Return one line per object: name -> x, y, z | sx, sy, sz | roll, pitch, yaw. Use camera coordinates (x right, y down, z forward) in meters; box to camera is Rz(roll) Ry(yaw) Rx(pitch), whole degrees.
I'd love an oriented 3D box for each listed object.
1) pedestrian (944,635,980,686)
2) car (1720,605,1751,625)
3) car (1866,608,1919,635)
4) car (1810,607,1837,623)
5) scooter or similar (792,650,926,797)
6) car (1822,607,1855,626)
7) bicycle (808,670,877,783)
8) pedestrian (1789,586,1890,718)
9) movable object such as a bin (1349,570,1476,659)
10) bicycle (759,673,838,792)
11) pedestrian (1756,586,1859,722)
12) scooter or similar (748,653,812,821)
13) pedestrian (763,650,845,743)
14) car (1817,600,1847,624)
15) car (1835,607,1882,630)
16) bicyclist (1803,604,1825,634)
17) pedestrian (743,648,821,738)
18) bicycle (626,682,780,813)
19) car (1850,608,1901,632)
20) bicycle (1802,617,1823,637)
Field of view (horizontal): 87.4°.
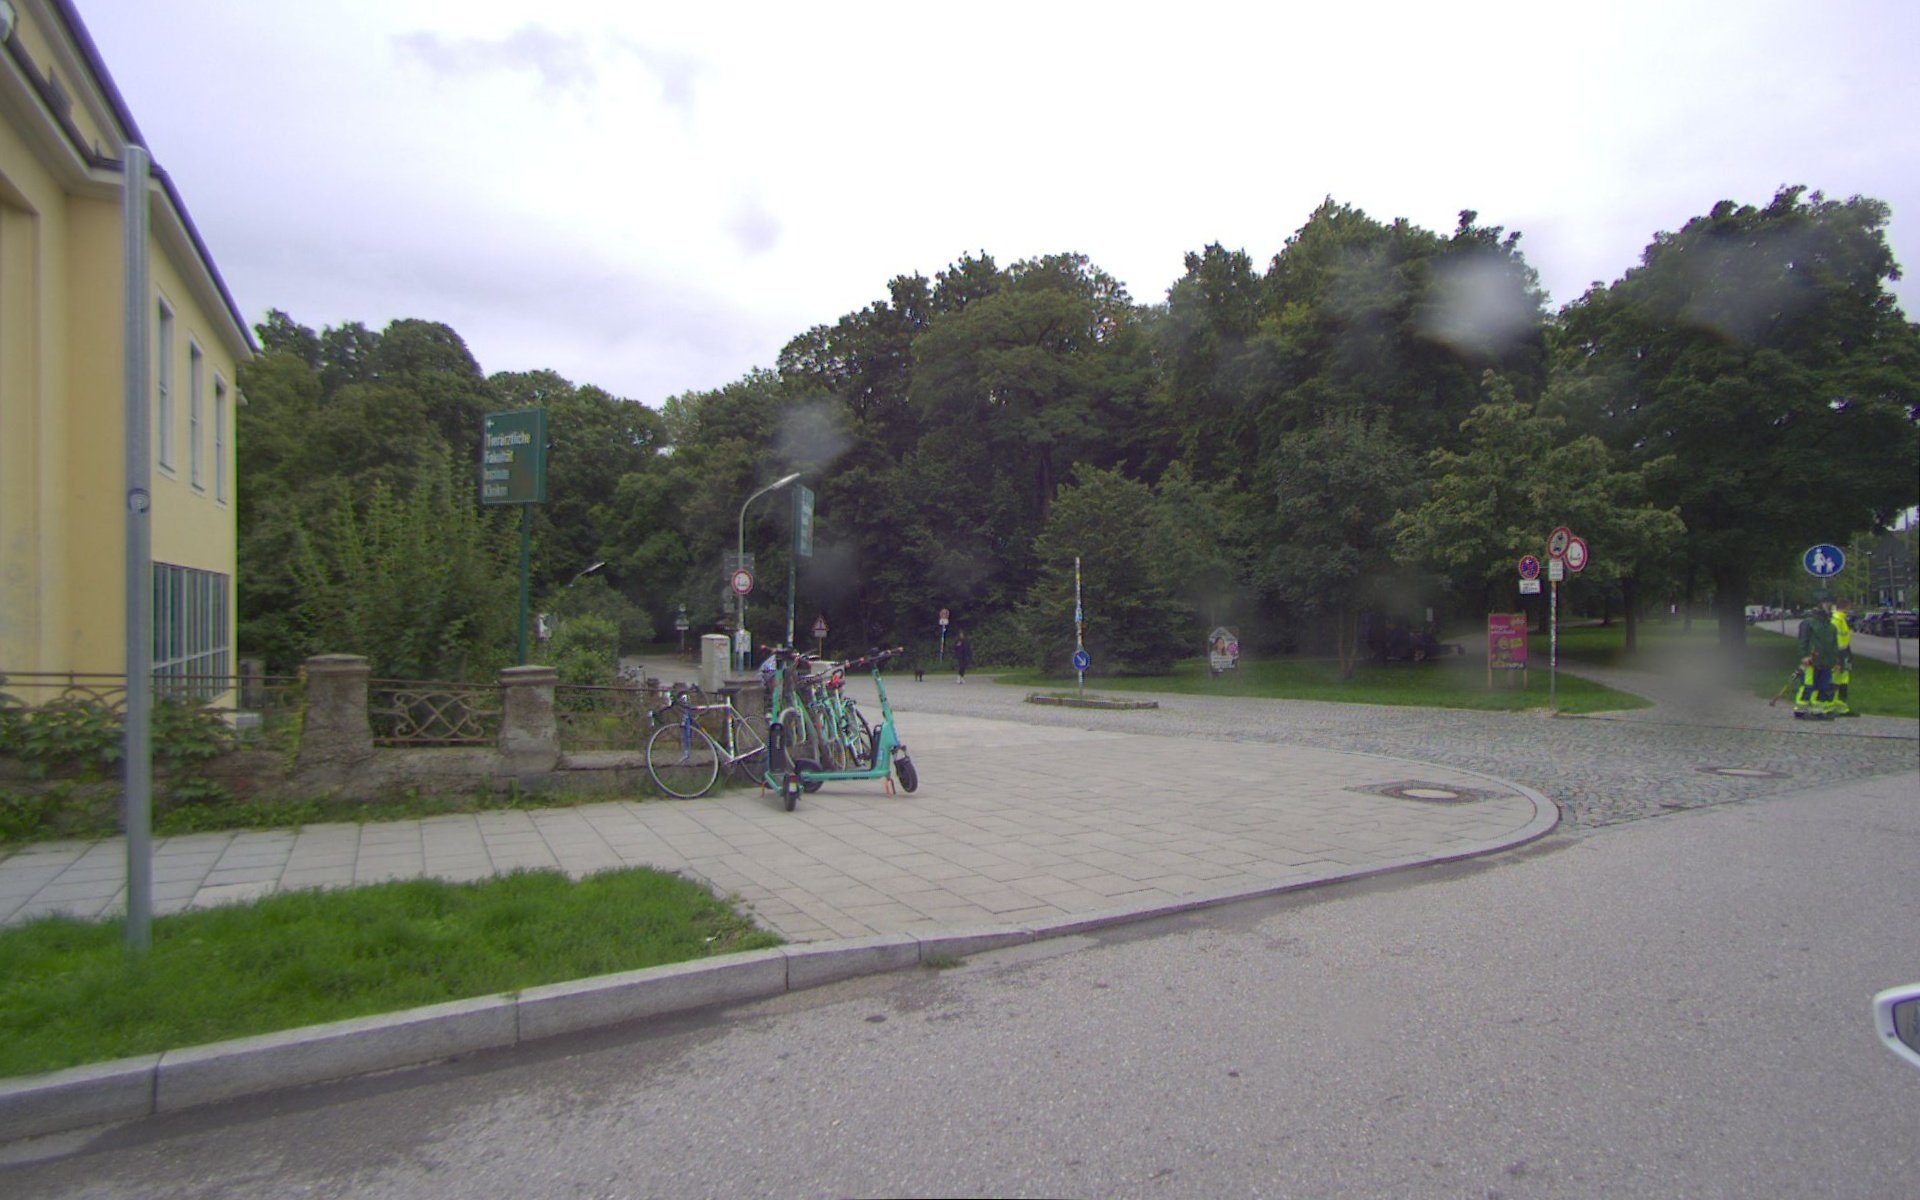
pedestrian -> 0.067, 2.038, 34.089 | 0.879, 1.710, 0.939 | 0, -1, -27
car -> 68.949, 1.355, 89.356 | 1.967, 1.713, 3.987 | -1, -1, 35
car -> 59.026, 1.331, 63.515 | 1.966, 1.627, 3.989 | 0, -1, 33
car -> 87.125, 1.503, 101.330 | 1.972, 1.627, 3.977 | -1, -1, 43
scooter or similar -> -0.861, 1.043, 8.647 | 1.096, 1.204, 0.345 | 0, 0, 8
car -> 74.425, 1.396, 85.056 | 1.972, 1.627, 3.977 | -1, -1, 43
bicycle -> -1.196, 1.273, 10.471 | 0.295, 1.003, 1.585 | -1, -1, 9
pedestrian -> 14.123, 0.810, 16.134 | 0.944, 2.040, 0.928 | 0, 0, -25
movable object such as a bin -> 17.117, 0.558, 38.122 | 3.919, 3.256, 2.001 | 0, -1, 5
bicycle -> -1.578, 1.272, 10.004 | 0.295, 1.003, 1.585 | -1, -1, 9
pedestrian -> 13.256, 0.821, 15.721 | 0.944, 2.040, 0.928 | 0, 0, -25
scooter or similar -> -1.472, 1.060, 8.142 | 0.340, 1.204, 1.114 | 0, 0, -19
pedestrian -> -2.404, 1.461, 15.473 | 0.985, 1.347, 0.769 | 0, -2, -37
car -> 80.117, 1.137, 92.248 | 1.972, 2.188, 3.977 | -1, -1, 43
car -> 65.203, 1.360, 72.929 | 1.966, 1.627, 3.989 | 0, -1, 33
bicyclist -> 42.676, 0.946, 50.193 | 0.785, 1.490, 0.890 | 0, 0, 36
pedestrian -> -2.837, 1.463, 16.030 | 0.985, 1.347, 0.769 | 0, -2, -37
bicycle -> -2.159, 1.210, 8.524 | 0.535, 0.986, 1.149 | 0, -3, 40
car -> 62.120, 1.346, 68.214 | 1.966, 1.627, 3.989 | 0, -1, 33
bicycle -> 42.592, 1.340, 50.178 | 0.631, 0.980, 1.988 | 0, 0, 35
